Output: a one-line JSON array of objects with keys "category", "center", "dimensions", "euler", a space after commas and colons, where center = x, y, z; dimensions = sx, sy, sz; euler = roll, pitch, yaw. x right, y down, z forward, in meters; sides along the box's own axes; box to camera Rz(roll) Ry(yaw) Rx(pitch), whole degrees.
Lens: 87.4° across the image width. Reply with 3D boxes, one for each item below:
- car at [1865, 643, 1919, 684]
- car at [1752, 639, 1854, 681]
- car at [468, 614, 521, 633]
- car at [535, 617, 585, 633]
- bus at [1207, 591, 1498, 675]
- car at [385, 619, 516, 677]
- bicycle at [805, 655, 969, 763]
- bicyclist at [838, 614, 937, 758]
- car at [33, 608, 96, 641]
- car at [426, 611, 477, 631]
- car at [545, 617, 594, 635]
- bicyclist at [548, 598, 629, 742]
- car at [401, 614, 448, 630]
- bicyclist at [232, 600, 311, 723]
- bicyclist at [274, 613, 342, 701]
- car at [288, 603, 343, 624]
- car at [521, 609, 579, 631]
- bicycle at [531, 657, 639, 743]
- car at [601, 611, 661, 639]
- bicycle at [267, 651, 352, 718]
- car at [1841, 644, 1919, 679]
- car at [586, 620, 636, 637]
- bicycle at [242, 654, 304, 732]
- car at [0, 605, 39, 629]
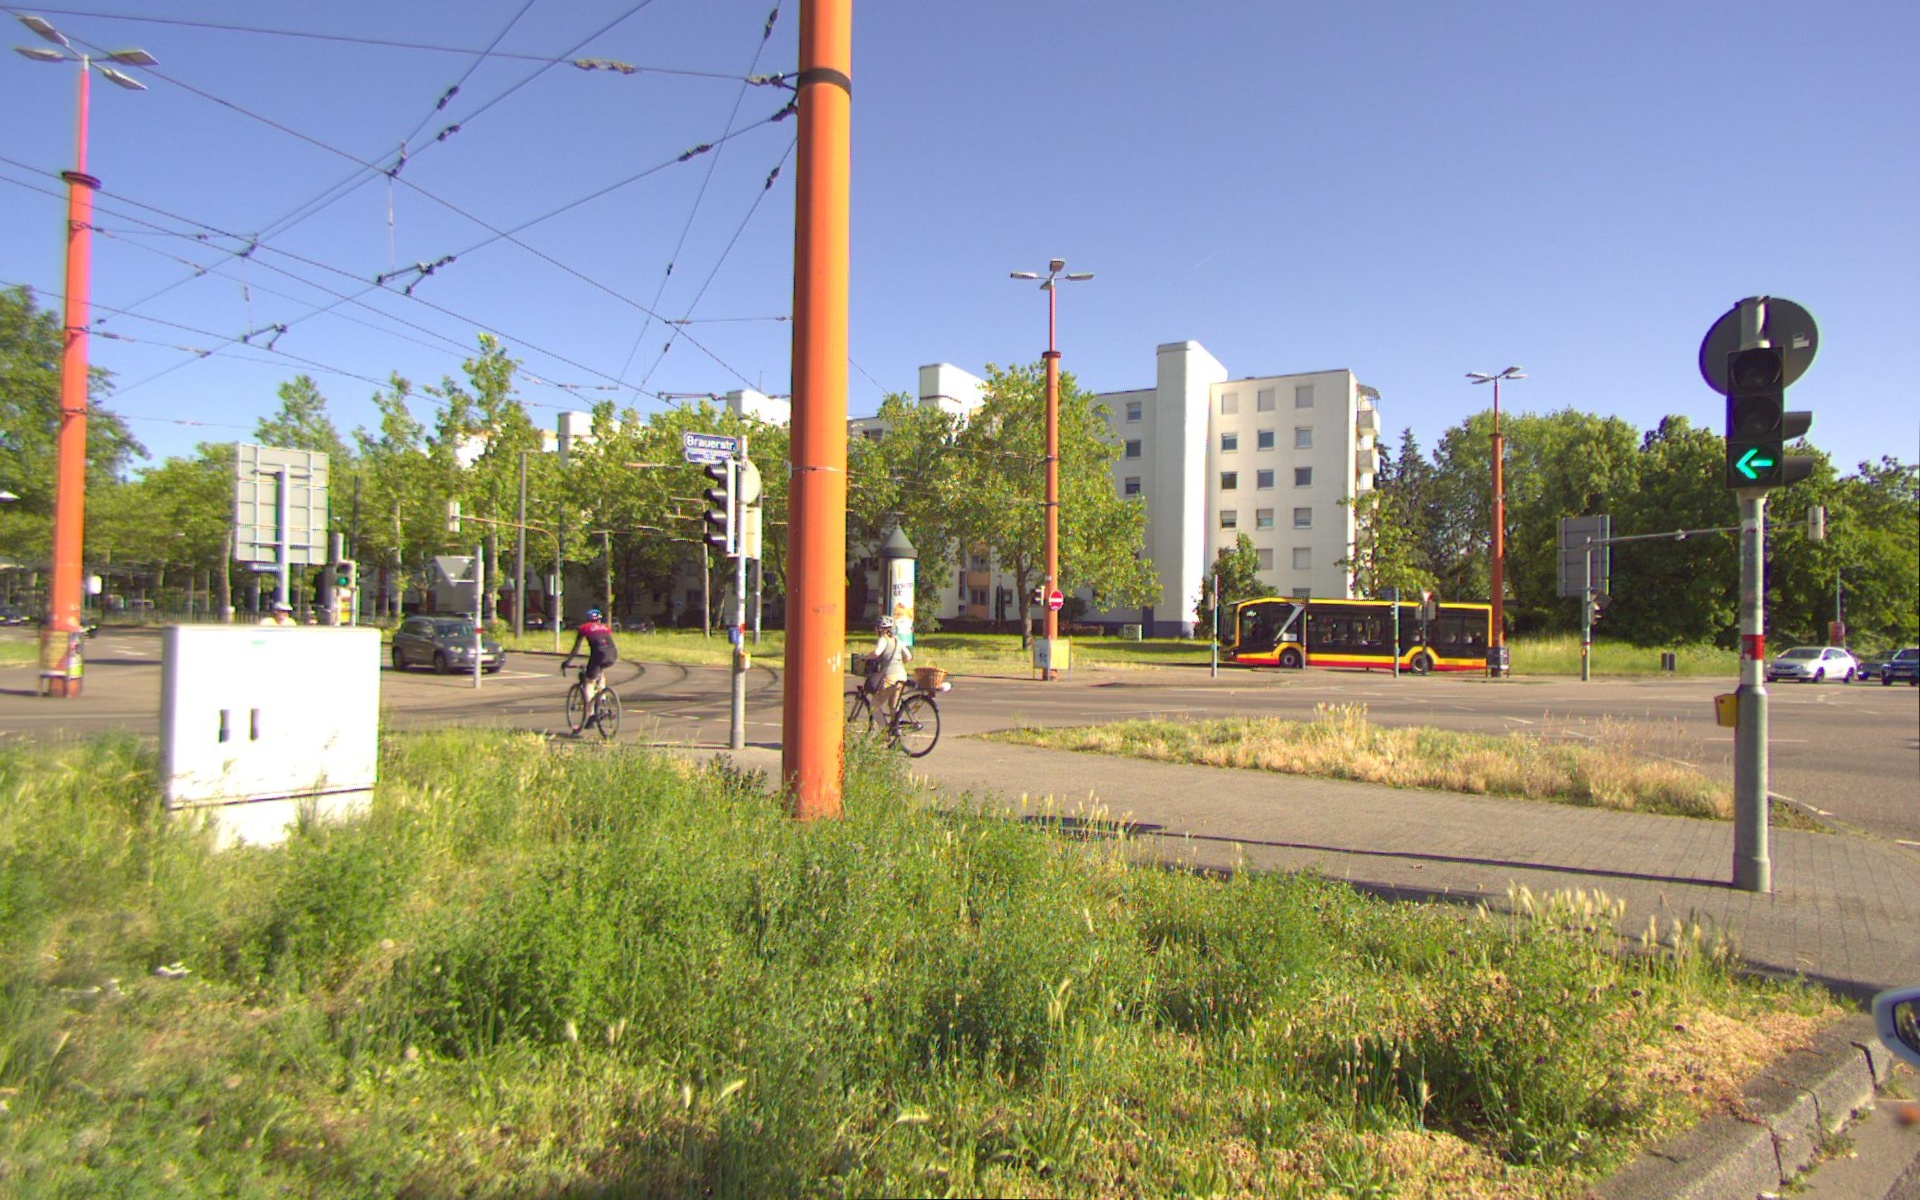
[{"category": "car", "center": [36.956, 2.434, 38.821], "dimensions": [3.812, 1.535, 1.794], "euler": [2, -3, -29]}, {"category": "car", "center": [35.060, 2.503, 41.766], "dimensions": [4.167, 1.673, 1.870], "euler": [2, -3, -28]}, {"category": "car", "center": [-38.644, 1.951, 83.396], "dimensions": [3.664, 1.349, 1.496], "euler": [2, 0, -7]}, {"category": "car", "center": [-30.773, 1.921, 77.345], "dimensions": [3.345, 1.162, 1.305], "euler": [2, 0, -13]}, {"category": "bus", "center": [17.957, 1.489, 46.465], "dimensions": [12.287, 3.304, 2.655], "euler": [2, 0, 1]}, {"category": "car", "center": [-15.653, 1.420, 30.811], "dimensions": [3.978, 1.516, 1.912], "euler": [2, 0, 35]}, {"category": "bicycle", "center": [-0.888, 1.265, 12.084], "dimensions": [1.882, 1.146, 0.739], "euler": [0, -1, 32]}, {"category": "bicyclist", "center": [-0.861, 0.994, 12.079], "dimensions": [0.813, 1.643, 0.890], "euler": [-1, -2, 33]}, {"category": "car", "center": [-46.848, 1.272, 52.544], "dimensions": [3.940, 1.516, 1.909], "euler": [2, 0, 40]}, {"category": "car", "center": [-43.041, 1.771, 85.163], "dimensions": [3.591, 1.480, 1.609], "euler": [2, 0, -18]}, {"category": "car", "center": [-29.231, 1.956, 75.229], "dimensions": [3.218, 1.172, 1.358], "euler": [2, 0, -11]}, {"category": "bicyclist", "center": [-5.238, 0.955, 14.151], "dimensions": [0.682, 1.938, 0.978], "euler": [2, -1, -45]}, {"category": "car", "center": [-46.386, 1.918, 87.059], "dimensions": [3.369, 1.204, 1.440], "euler": [2, 0, -22]}, {"category": "bicyclist", "center": [-11.114, 0.961, 16.221], "dimensions": [0.886, 1.892, 0.912], "euler": [2, 0, -42]}, {"category": "bicyclist", "center": [-11.973, 1.034, 18.447], "dimensions": [0.908, 1.545, 0.718], "euler": [2, 0, 34]}, {"category": "car", "center": [-65.870, 1.382, 102.709], "dimensions": [4.273, 2.010, 1.933], "euler": [1, -1, -18]}, {"category": "car", "center": [-32.398, 1.568, 79.363], "dimensions": [3.868, 1.613, 1.657], "euler": [2, 0, -7]}, {"category": "bicycle", "center": [-5.320, 1.371, 14.197], "dimensions": [1.890, 1.085, 0.688], "euler": [-1, -2, 45]}, {"category": "car", "center": [-23.605, 1.796, 72.115], "dimensions": [3.873, 1.841, 1.652], "euler": [2, 0, -13]}, {"category": "bicycle", "center": [-11.960, 1.530, 18.457], "dimensions": [1.883, 1.086, 0.578], "euler": [2, 0, 34]}, {"category": "car", "center": [42.885, 2.843, 46.513], "dimensions": [3.951, 1.533, 1.877], "euler": [2, -3, -29]}, {"category": "car", "center": [-25.747, 2.083, 74.158], "dimensions": [3.279, 1.149, 1.321], "euler": [2, 0, -10]}, {"category": "bicycle", "center": [-11.166, 1.472, 16.303], "dimensions": [0.575, 1.086, 1.892], "euler": [2, 0, -41]}, {"category": "car", "center": [-66.603, 1.181, 70.993], "dimensions": [3.943, 1.516, 1.908], "euler": [2, -1, 43]}]
